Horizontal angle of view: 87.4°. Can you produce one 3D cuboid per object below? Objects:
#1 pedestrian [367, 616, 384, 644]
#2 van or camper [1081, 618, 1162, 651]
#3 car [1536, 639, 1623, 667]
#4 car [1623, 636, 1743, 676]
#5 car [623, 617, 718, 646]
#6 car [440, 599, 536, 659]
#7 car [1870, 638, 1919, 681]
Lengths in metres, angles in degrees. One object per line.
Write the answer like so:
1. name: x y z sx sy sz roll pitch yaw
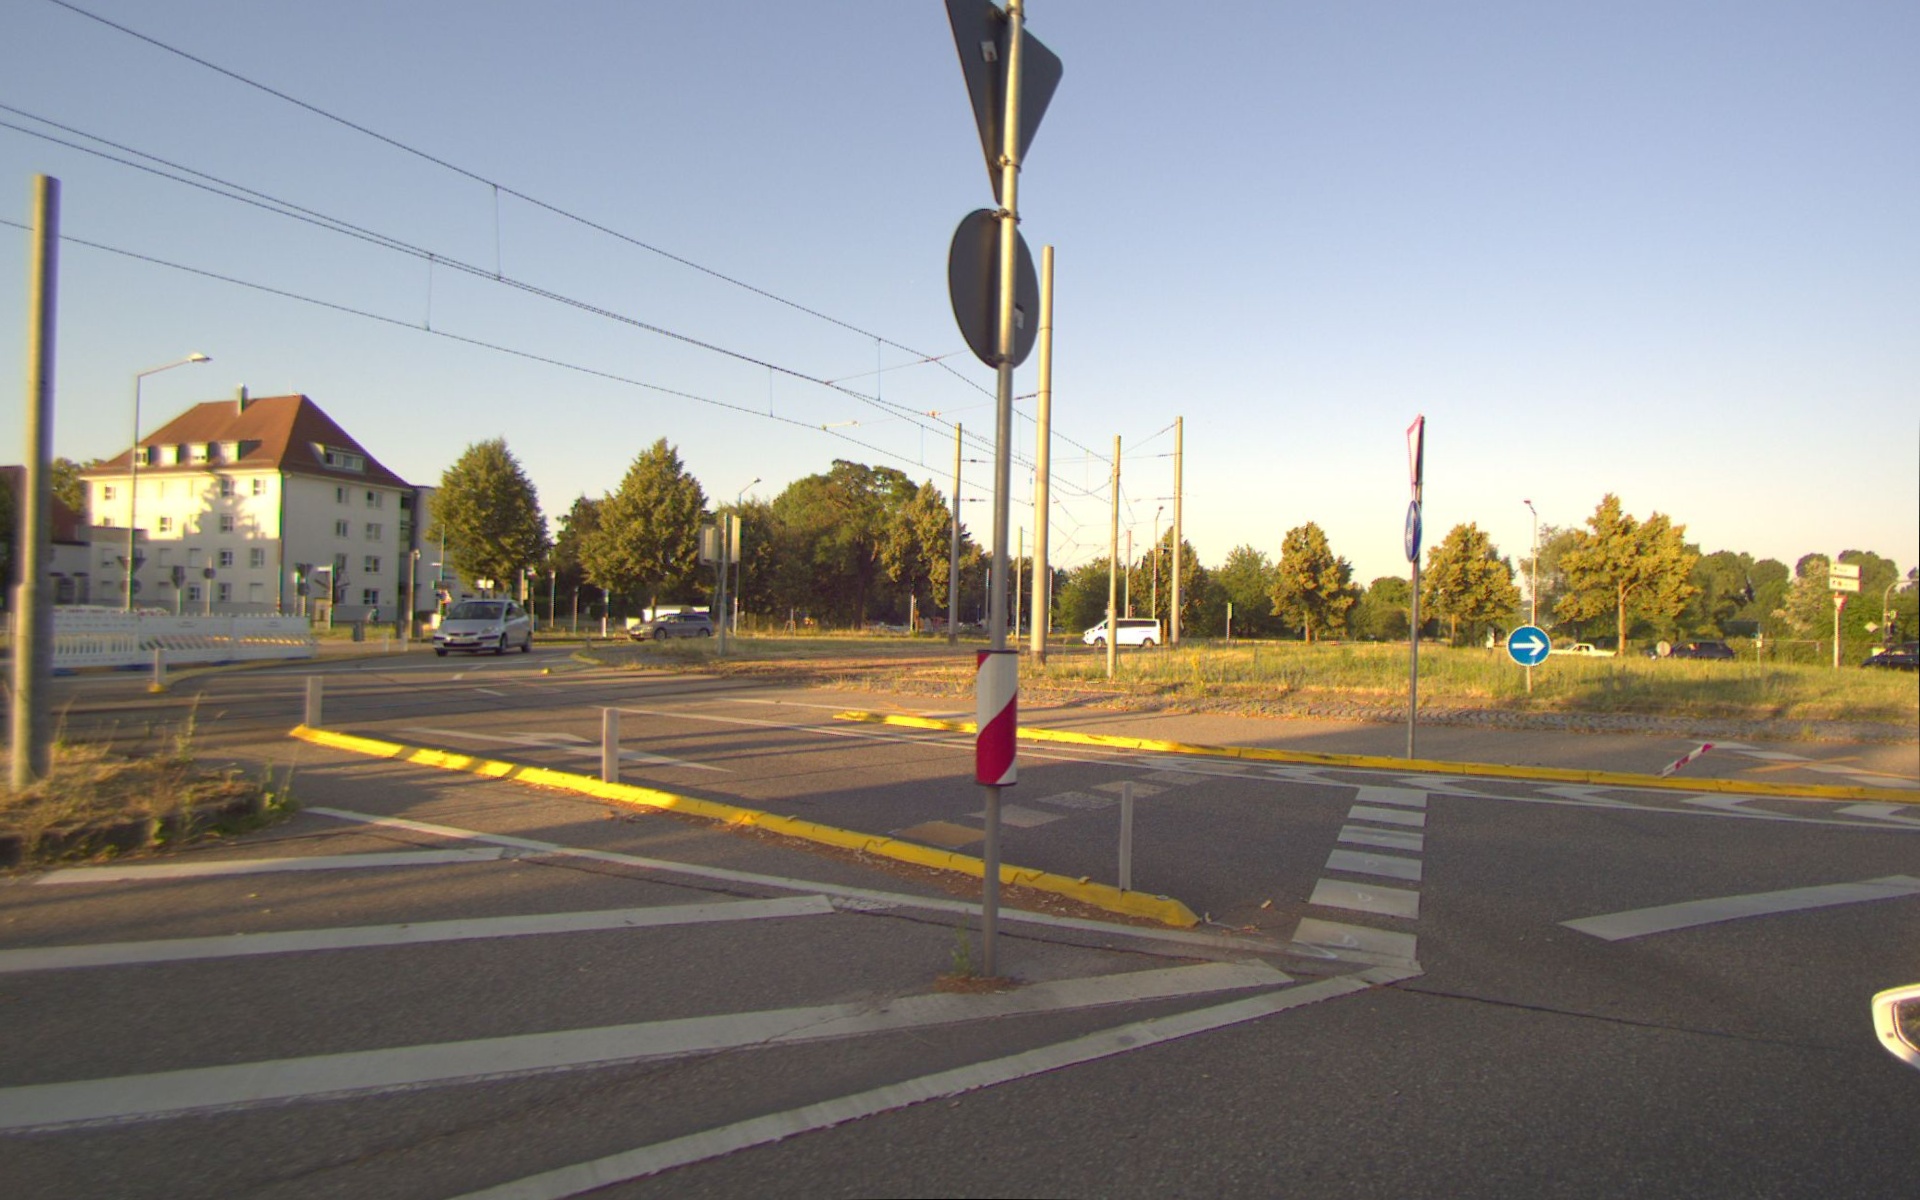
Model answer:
1. pedestrian: -34.159 1.747 58.668 0.555 1.643 0.595 1 -1 17
2. van or camper: 10.882 2.323 67.921 5.197 2.036 1.916 2 -1 2
3. car: 33.901 2.909 55.069 3.705 1.272 1.580 3 0 16
4. car: 35.636 2.719 49.638 4.508 1.771 1.751 1 -1 23
5. car: -14.983 1.630 52.228 1.898 1.434 4.639 1 -1 33
6. car: -12.847 0.770 27.533 1.579 1.485 3.702 2 -1 -13
7. car: 35.539 2.192 36.977 1.718 1.465 4.133 1 -1 23
